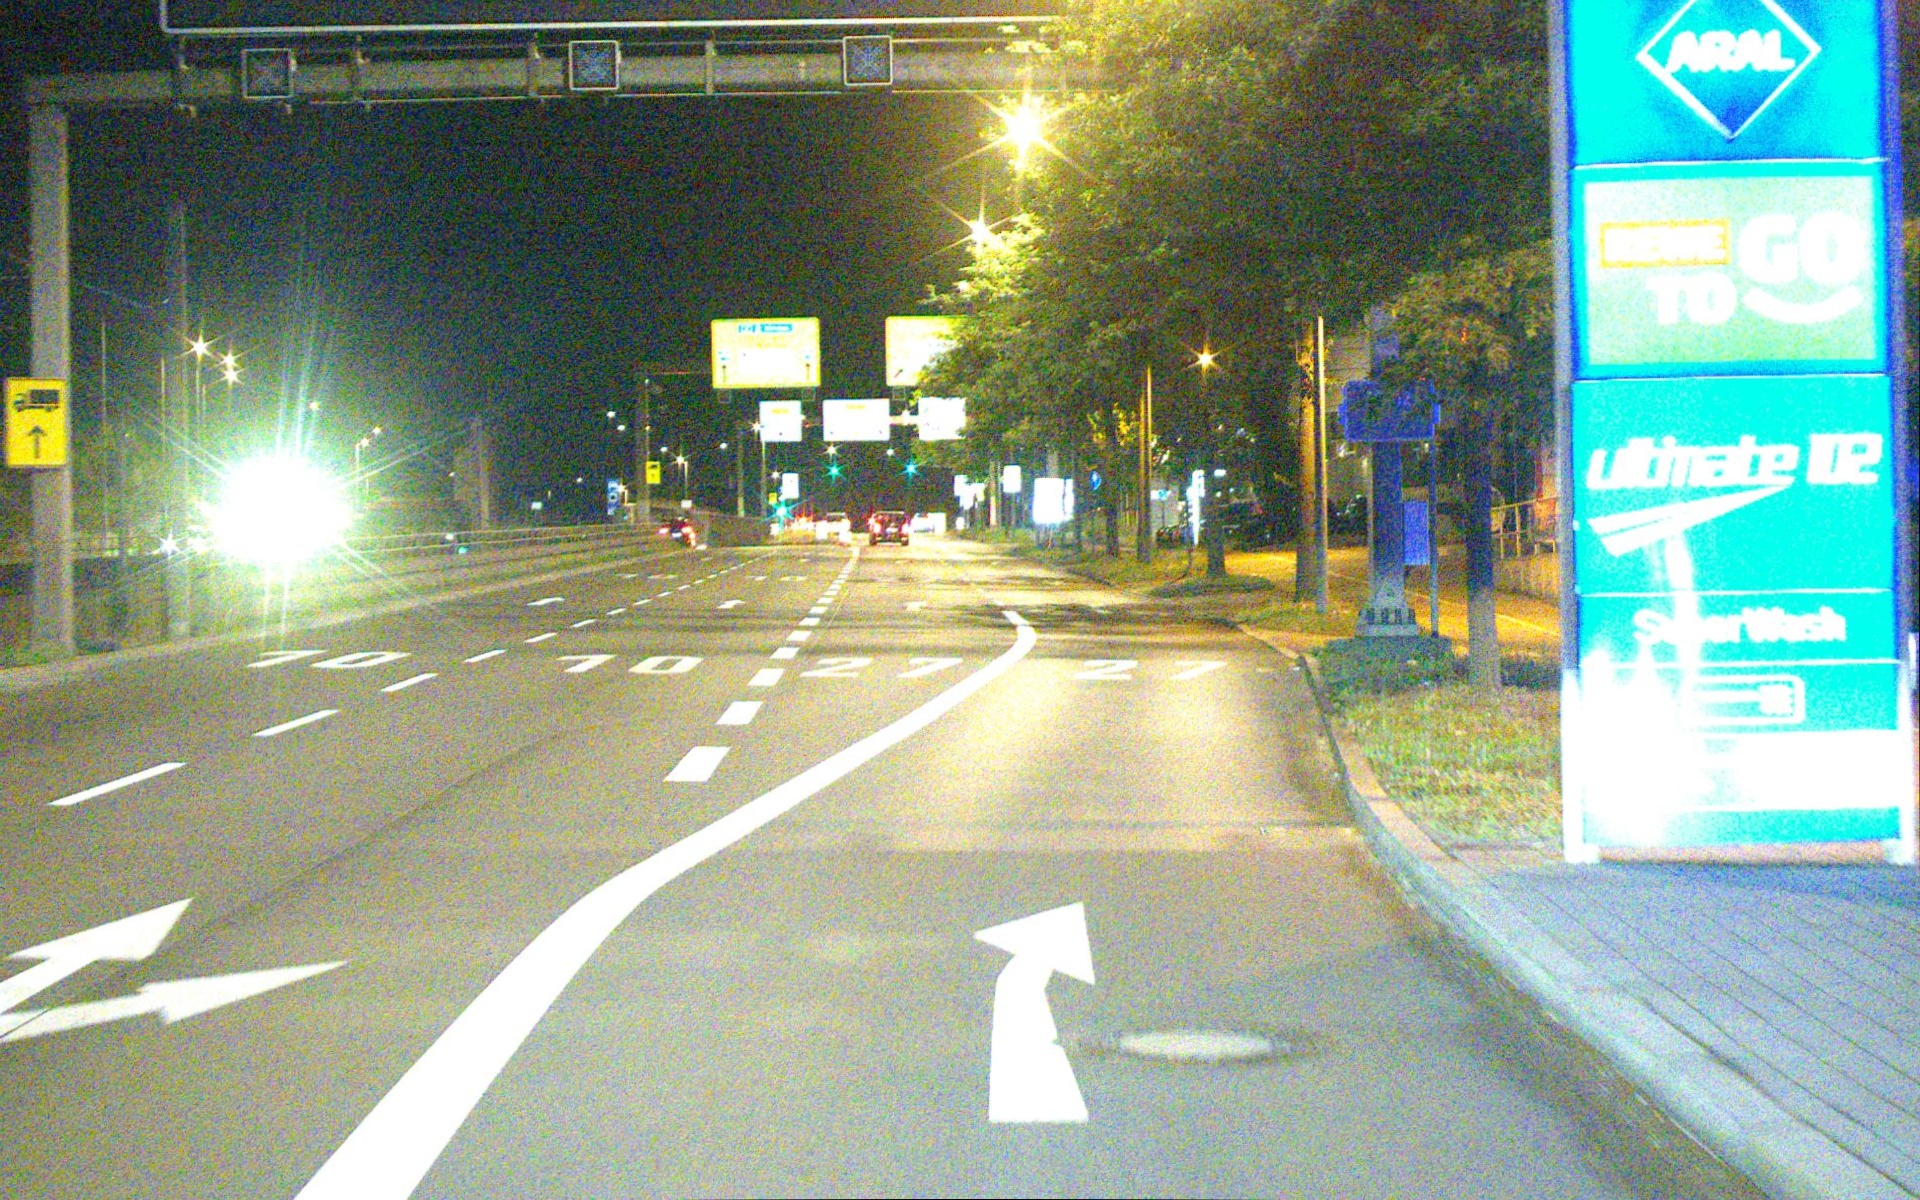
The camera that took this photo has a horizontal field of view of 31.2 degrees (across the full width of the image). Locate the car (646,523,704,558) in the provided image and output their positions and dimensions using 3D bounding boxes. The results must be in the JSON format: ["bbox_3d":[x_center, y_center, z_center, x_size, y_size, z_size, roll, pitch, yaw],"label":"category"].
[{"bbox_3d":[-14.517,-3.027,174.844,1.967,1.705,4.001,1,0,-19],"label":"car"}]

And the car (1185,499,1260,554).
[{"bbox_3d":[9.745,-2.709,127.386,1.995,1.938,3.997,1,0,16],"label":"car"}]

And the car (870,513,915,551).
[{"bbox_3d":[-3.215,-3.227,164.063,1.968,1.705,4.000,1,0,1],"label":"car"}]

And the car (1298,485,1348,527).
[{"bbox_3d":[14.145,-3.659,134.115,1.893,1.506,3.635,1,0,6],"label":"car"}]

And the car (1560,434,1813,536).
[{"bbox_3d":[12.016,-1.890,56.973,3.724,1.484,1.742,-2,0,-2],"label":"car"}]

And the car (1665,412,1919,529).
[{"bbox_3d":[12.908,-1.959,52.209,3.987,1.566,1.738,-3,0,1],"label":"car"}]

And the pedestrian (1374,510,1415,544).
[{"bbox_3d":[13.265,-2.240,104.964,0.997,1.004,0.772,1,0,-16],"label":"pedestrian"}]

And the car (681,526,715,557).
[{"bbox_3d":[-15.021,-3.339,197.097,1.782,1.705,4.001,1,0,-6],"label":"car"}]

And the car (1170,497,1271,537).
[{"bbox_3d":[10.039,-3.180,132.547,3.623,1.446,1.708,1,0,-4],"label":"car"}]

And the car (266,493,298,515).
[{"bbox_3d":[-50.308,-7.127,255.157,1.625,1.476,3.679,1,0,0],"label":"car"}]

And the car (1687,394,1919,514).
[{"bbox_3d":[12.728,-2.108,49.444,4.119,1.517,1.822,-2,-1,1],"label":"car"}]

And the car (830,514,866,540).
[{"bbox_3d":[-7.091,-4.603,217.735,2.005,1.546,4.295,1,0,1],"label":"car"}]

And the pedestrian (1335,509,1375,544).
[{"bbox_3d":[12.066,-2.243,105.002,0.913,1.035,0.770,-1,1,42],"label":"pedestrian"}]
